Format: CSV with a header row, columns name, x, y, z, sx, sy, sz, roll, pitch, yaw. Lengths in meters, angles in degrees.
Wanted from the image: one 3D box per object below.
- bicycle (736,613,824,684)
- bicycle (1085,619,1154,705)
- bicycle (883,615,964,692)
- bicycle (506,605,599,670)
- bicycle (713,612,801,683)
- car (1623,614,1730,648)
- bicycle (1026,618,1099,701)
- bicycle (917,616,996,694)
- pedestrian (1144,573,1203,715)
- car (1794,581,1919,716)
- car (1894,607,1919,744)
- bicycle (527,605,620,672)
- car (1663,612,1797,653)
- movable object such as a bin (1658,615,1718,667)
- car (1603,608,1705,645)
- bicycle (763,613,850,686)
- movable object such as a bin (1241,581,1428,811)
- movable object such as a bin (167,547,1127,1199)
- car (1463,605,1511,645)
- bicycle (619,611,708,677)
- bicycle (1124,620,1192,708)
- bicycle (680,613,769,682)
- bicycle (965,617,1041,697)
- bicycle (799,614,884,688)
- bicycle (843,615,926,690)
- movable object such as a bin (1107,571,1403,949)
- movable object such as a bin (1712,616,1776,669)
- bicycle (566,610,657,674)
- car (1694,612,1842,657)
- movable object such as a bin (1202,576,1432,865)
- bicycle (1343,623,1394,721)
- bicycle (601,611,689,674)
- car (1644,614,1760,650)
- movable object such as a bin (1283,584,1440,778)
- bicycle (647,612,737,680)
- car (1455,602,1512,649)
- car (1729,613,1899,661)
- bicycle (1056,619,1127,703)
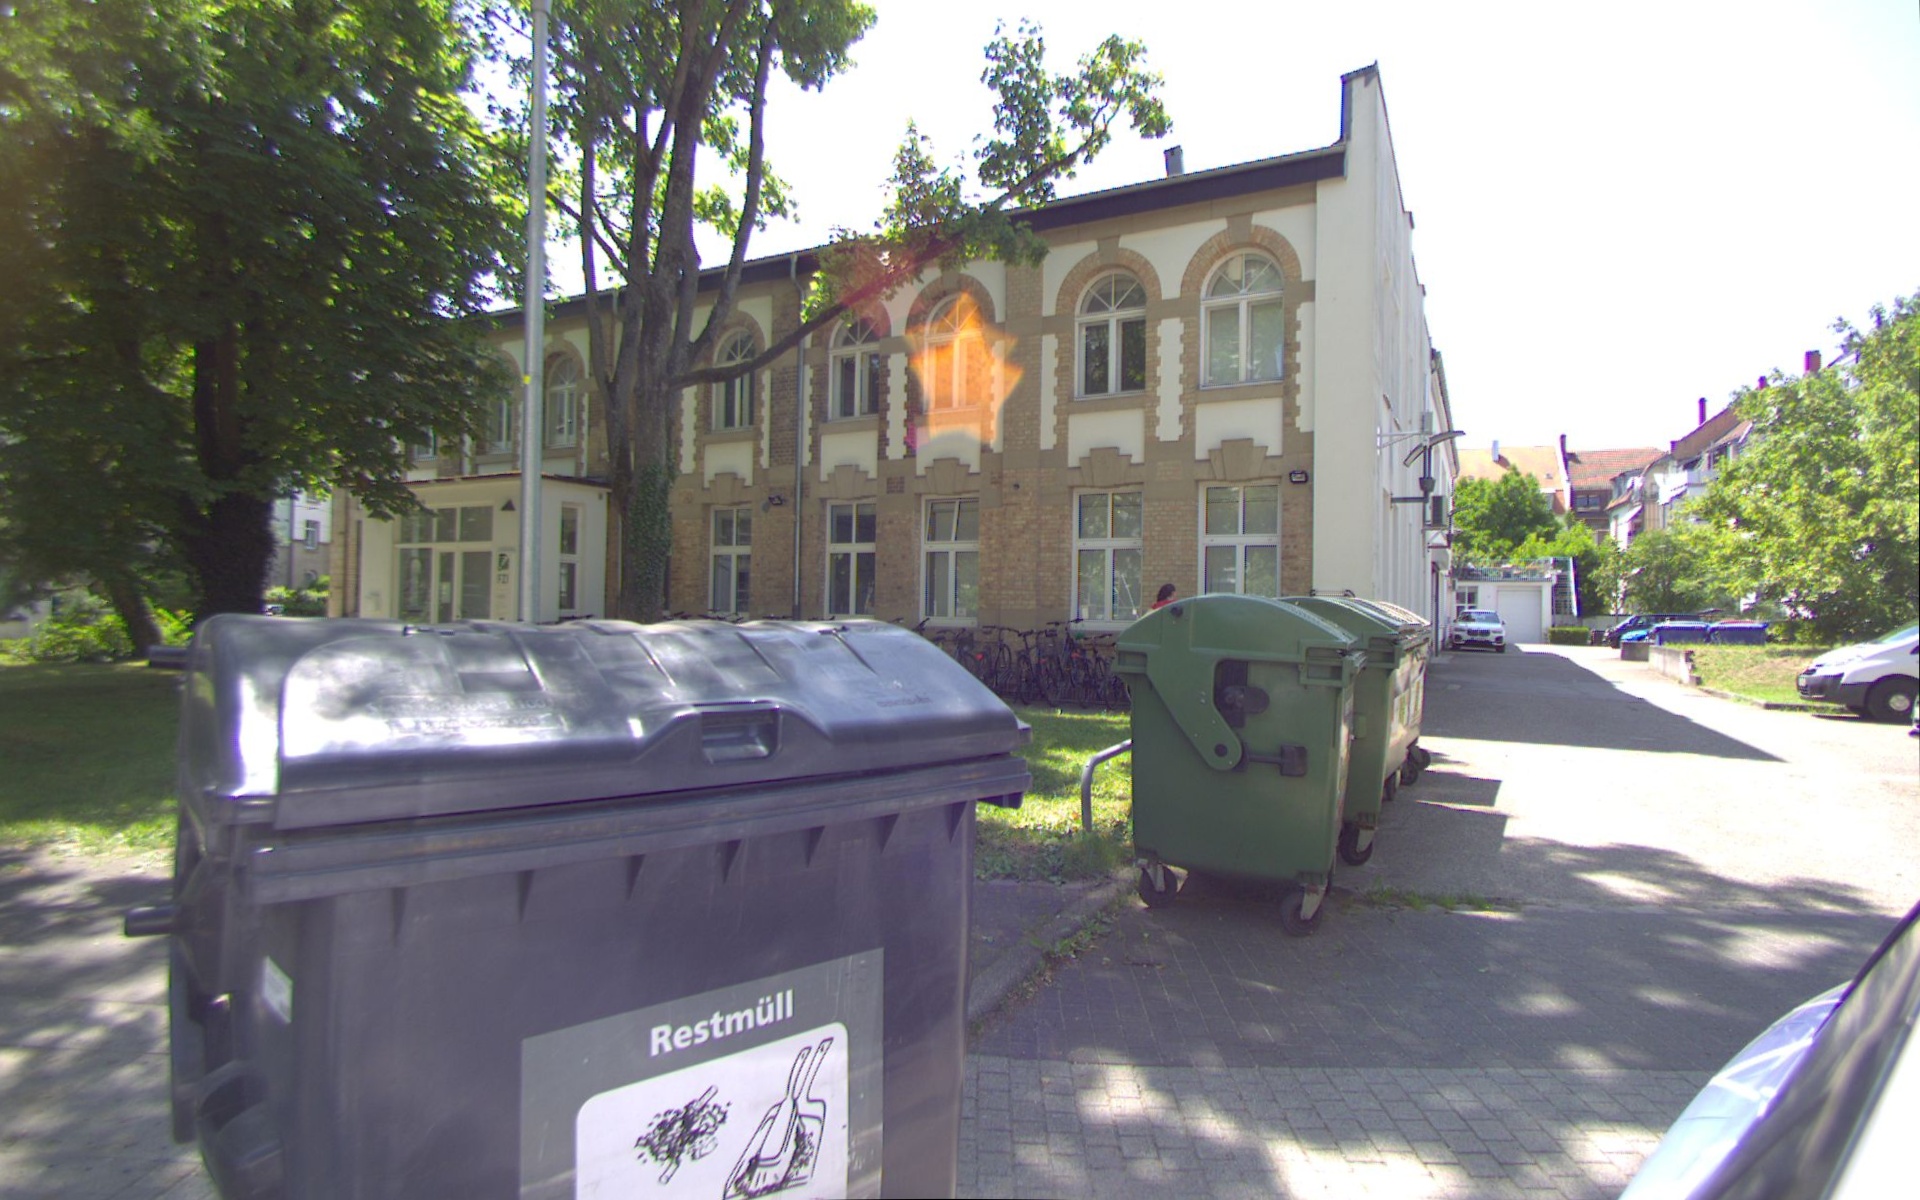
name,x,y,z,sx,sy,sz,roll,pitch,yaw
bicycle,-2.986,0.781,16.974,0.402,1.115,1.808,0,0,28
bicycle,2.307,0.852,14.486,0.402,1.115,1.808,0,0,28
bicycle,-0.548,0.814,15.940,0.402,1.115,1.808,0,0,28
bicycle,-7.873,0.696,19.631,0.402,1.115,1.809,0,3,28
bicycle,-3.433,0.775,17.237,0.402,1.115,1.808,0,0,28
car,36.265,1.531,51.340,4.178,1.588,1.600,1,0,24
bicycle,1.531,0.842,14.914,0.402,1.115,1.808,0,0,28
bicycle,-0.024,0.821,15.713,0.402,1.115,1.808,0,0,28
pedestrian,2.758,0.546,13.061,0.548,1.771,0.682,0,0,30
car,15.261,0.713,14.498,4.825,1.907,2.044,1,0,31
car,11.668,0.798,9.135,4.408,1.398,2.000,1,-2,31
bicycle,-7.282,0.704,19.176,0.402,1.115,1.809,0,3,28
car,32.293,1.331,42.590,4.178,1.588,1.600,1,0,24
movable object such as a bin,20.788,1.145,28.938,1.261,1.406,1.084,1,0,29
car,37.089,1.403,54.214,4.178,1.846,1.993,1,0,24
bicycle,-2.511,0.788,16.733,0.402,1.115,1.808,0,0,28
movable object such as a bin,2.757,0.612,7.369,1.070,1.476,1.362,1,0,30
movable object such as a bin,-0.434,0.679,1.895,1.070,1.476,1.362,1,0,30
car,26.016,1.174,49.935,1.995,1.826,4.679,1,0,28
bicycle,-5.373,0.772,18.471,0.402,1.115,1.808,0,0,28
bicycle,2.802,0.859,14.205,0.402,1.115,1.808,0,0,28
bicycle,-4.028,0.792,17.456,0.402,1.115,1.808,0,0,28
bicycle,0.688,0.830,15.412,0.402,1.115,1.808,0,0,28
bicycle,-1.907,0.796,16.503,0.402,1.115,1.808,0,0,28
bicycle,-1.182,0.805,16.252,0.402,1.115,1.808,0,0,28
movable object such as a bin,1.452,0.619,4.816,1.070,1.476,1.362,1,0,30
movable object such as a bin,21.921,1.160,28.326,1.261,1.406,1.084,1,0,29
bicycle,-6.497,0.757,18.956,0.402,1.115,1.808,0,0,28
car,31.333,1.295,39.377,4.178,1.588,1.600,1,0,24
movable object such as a bin,2.165,0.609,6.030,1.070,1.476,1.362,1,0,30
bicycle,5.217,0.869,12.876,0.402,1.115,1.808,0,0,28
bicycle,-5.857,0.765,18.905,0.402,1.115,1.808,0,0,28
car,35.380,1.509,48.364,4.178,1.588,1.600,1,0,24
movable object such as a bin,3.448,0.617,8.620,1.070,1.476,1.362,1,0,30
bicycle,-4.689,0.782,17.825,0.402,1.115,1.808,0,0,28
car,21.877,0.992,42.269,1.995,1.826,4.679,1,0,28
car,30.762,1.296,36.624,4.397,1.588,1.600,1,0,24
bicycle,1.930,0.847,14.710,0.402,1.115,1.808,0,0,28
